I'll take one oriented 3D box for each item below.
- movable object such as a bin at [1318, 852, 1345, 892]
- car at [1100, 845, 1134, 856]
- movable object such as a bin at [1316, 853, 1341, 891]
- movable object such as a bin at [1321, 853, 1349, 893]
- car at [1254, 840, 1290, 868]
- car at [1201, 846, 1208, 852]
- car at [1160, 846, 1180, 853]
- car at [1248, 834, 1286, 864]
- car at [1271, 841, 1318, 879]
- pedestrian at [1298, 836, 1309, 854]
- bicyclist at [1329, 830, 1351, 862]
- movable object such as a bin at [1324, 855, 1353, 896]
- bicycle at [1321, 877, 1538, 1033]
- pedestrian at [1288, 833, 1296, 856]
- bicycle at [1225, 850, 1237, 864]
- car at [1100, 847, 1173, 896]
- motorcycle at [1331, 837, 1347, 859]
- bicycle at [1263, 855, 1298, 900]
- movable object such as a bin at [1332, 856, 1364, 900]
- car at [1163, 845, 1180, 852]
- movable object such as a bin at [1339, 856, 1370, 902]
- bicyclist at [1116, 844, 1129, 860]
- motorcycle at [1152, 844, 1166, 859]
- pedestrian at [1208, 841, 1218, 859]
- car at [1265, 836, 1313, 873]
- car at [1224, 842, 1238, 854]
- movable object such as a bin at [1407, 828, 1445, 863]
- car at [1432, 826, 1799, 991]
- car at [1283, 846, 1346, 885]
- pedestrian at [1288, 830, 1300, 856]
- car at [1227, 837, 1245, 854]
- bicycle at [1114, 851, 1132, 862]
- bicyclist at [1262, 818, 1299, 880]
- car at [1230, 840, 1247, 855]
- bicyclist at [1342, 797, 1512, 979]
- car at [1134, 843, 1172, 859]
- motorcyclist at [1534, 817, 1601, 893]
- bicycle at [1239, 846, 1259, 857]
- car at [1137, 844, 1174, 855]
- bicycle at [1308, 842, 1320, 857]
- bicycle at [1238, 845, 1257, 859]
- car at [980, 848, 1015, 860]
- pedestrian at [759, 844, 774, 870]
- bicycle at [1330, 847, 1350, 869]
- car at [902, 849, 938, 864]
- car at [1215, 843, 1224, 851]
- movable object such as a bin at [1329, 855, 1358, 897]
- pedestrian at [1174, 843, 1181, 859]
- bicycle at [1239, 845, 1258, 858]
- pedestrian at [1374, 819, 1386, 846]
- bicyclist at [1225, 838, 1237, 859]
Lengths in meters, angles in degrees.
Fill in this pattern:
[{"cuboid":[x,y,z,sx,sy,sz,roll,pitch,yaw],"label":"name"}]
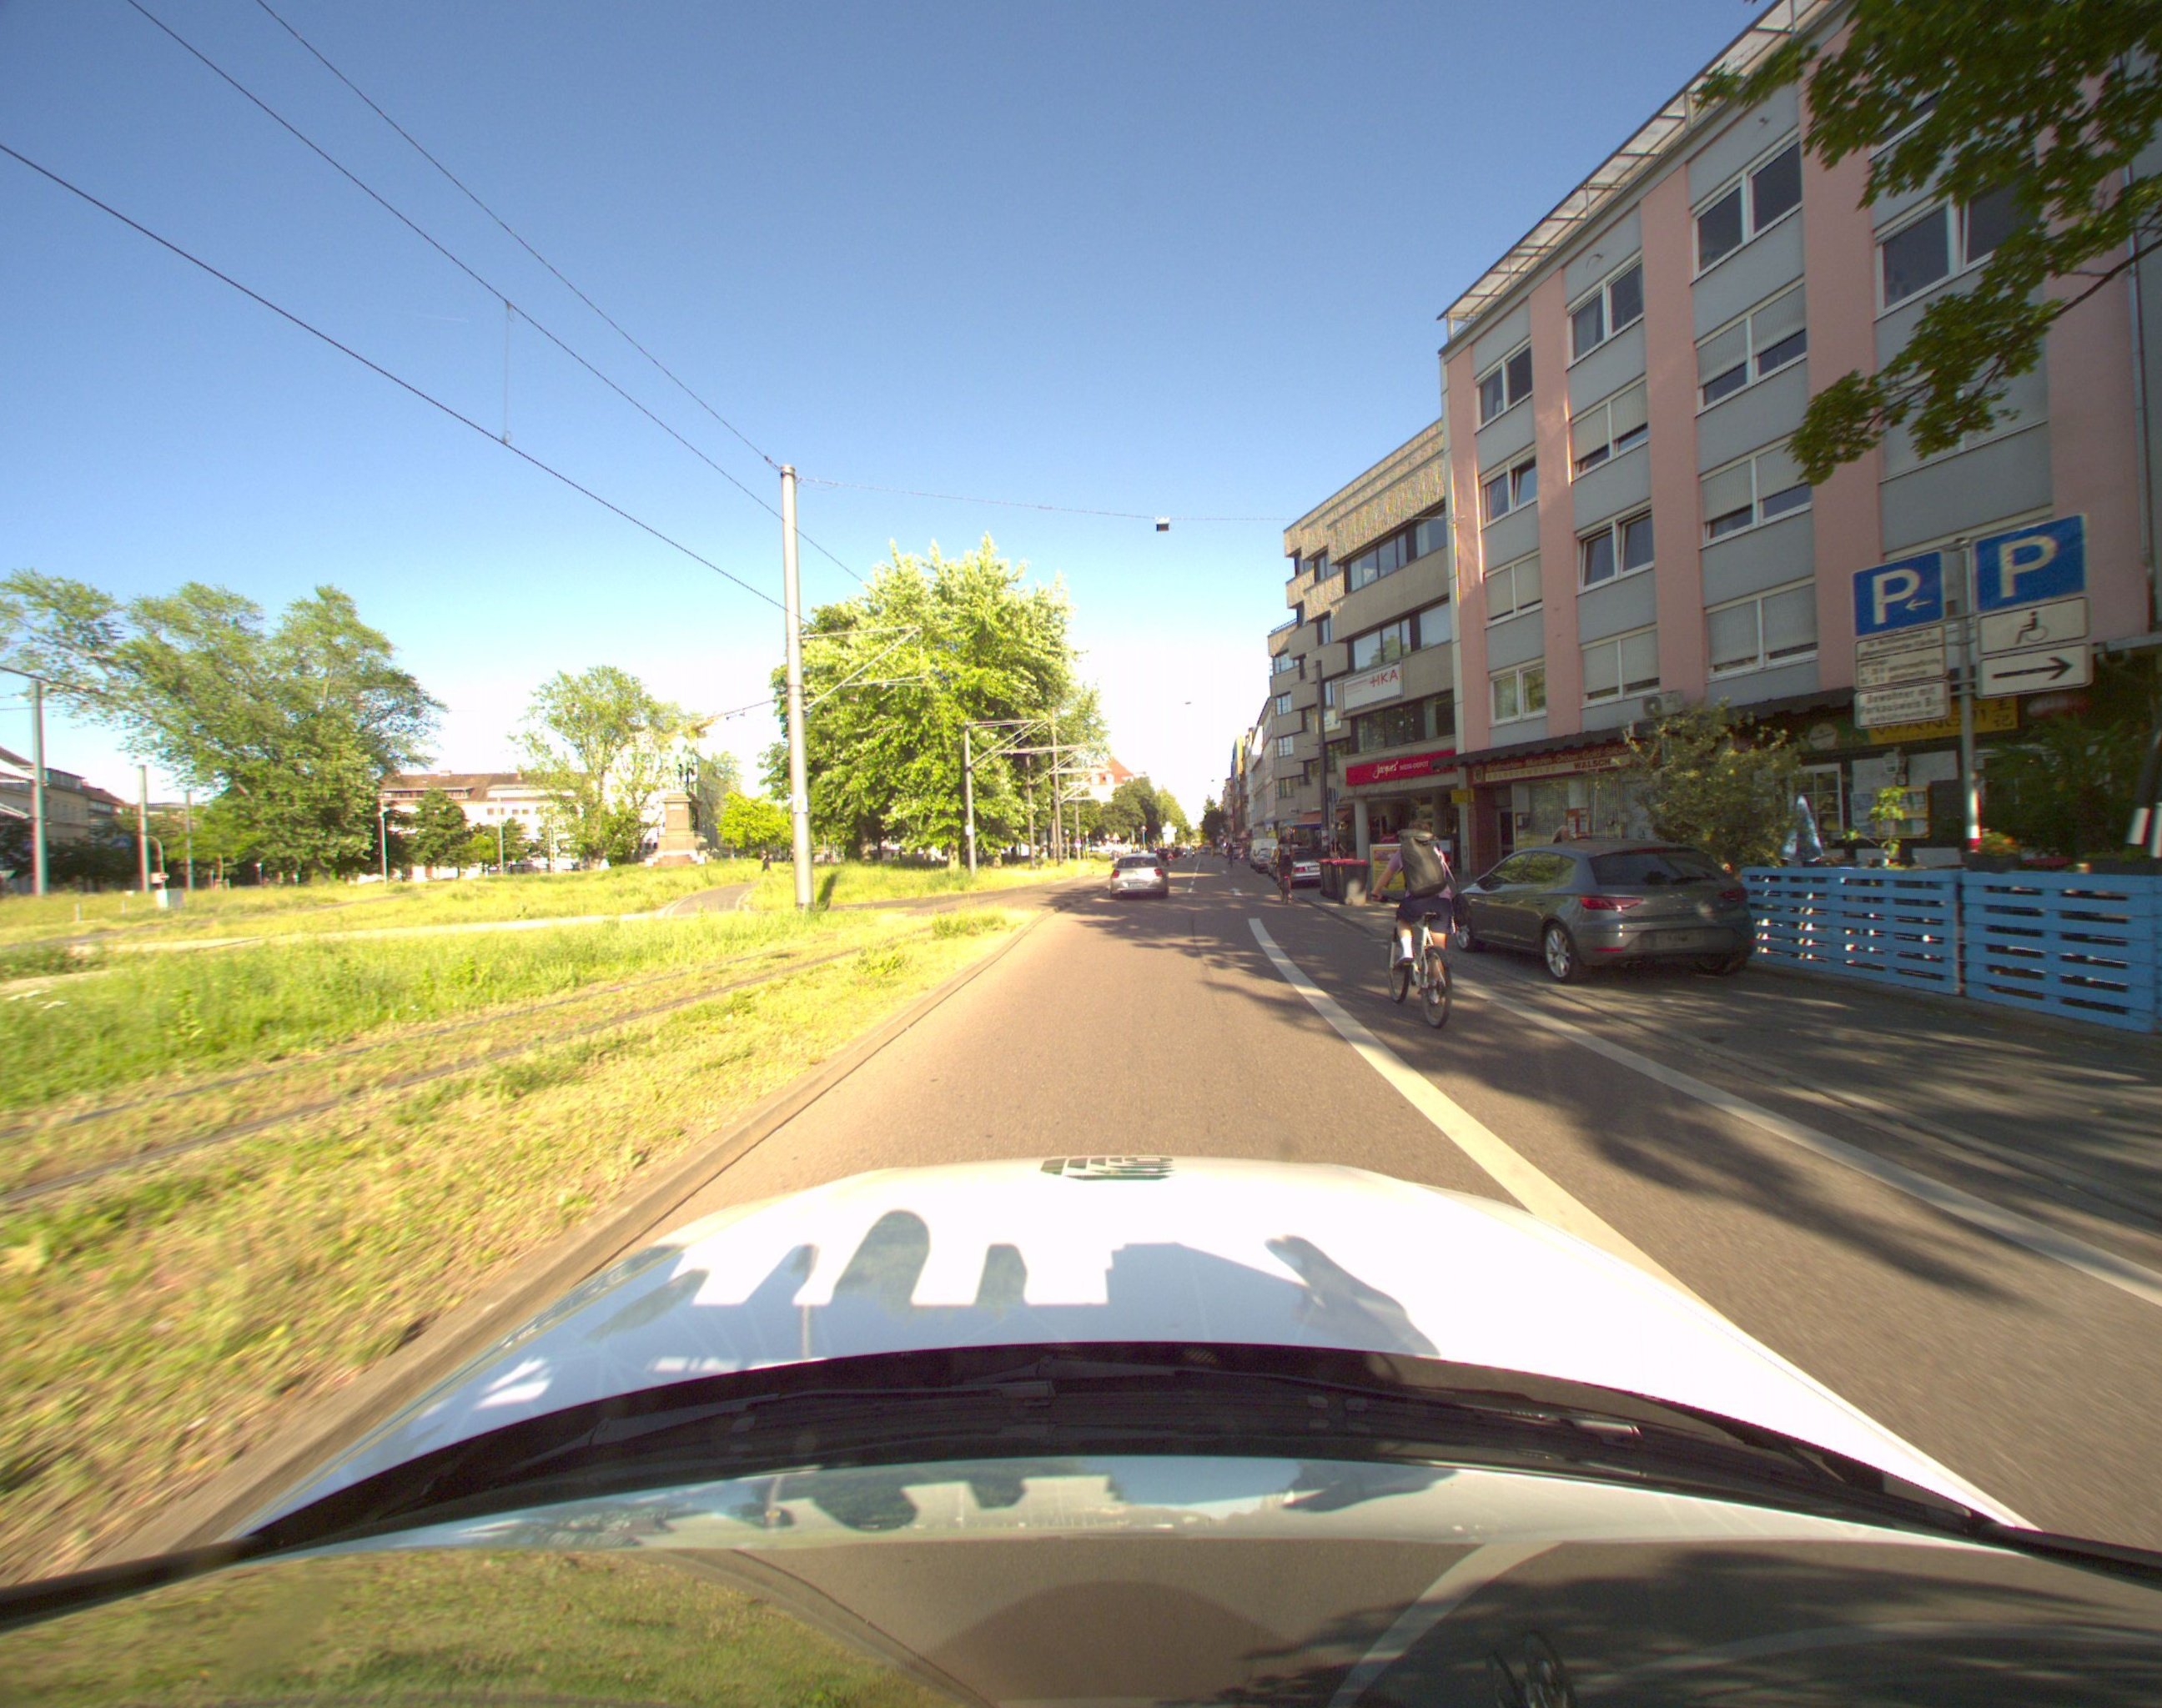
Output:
[{"cuboid":[7.031,0.507,22.853,0.607,1.105,0.526,-1,-1,5],"label":"movable object such as a bin"},{"cuboid":[6.026,-0.631,137.058,5.279,1.800,2.150,-1,-1,-19],"label":"car"},{"cuboid":[7.118,0.519,23.442,0.589,1.083,0.605,-1,-1,5],"label":"movable object such as a bin"},{"cuboid":[6.953,0.509,22.290,0.602,1.069,0.546,-1,-1,5],"label":"movable object such as a bin"},{"cuboid":[10.607,0.025,45.471,1.763,1.454,4.744,-1,-1,11],"label":"car"},{"cuboid":[31.541,-1.211,207.894,1.859,1.556,4.010,-1,-1,9],"label":"car"},{"cuboid":[18.644,-0.955,170.931,3.963,1.508,2.005,-1,0,9],"label":"car"},{"cuboid":[11.811,-0.292,51.817,1.982,1.813,4.319,-1,-1,8],"label":"car"},{"cuboid":[9.167,0.243,35.237,1.660,1.518,4.212,-1,-1,11],"label":"car"},{"cuboid":[16.361,-0.642,59.841,0.626,1.236,0.626,-4,-1,12],"label":"pedestrian"},{"cuboid":[11.045,-0.325,34.780,0.753,1.326,0.997,-1,-1,10],"label":"bicyclist"},{"cuboid":[6.827,0.575,21.617,0.603,1.069,0.614,-1,-1,4],"label":"movable object such as a bin"},{"cuboid":[3.011,0.804,7.375,0.884,1.136,2.226,-1,-1,-4],"label":"bicycle"},{"cuboid":[15.735,-0.694,60.728,0.580,1.714,0.700,-1,-1,11],"label":"pedestrian"},{"cuboid":[10.487,0.214,57.044,0.649,0.958,2.703,-1,-1,7],"label":"bicycle"},{"cuboid":[1.876,0.545,26.383,1.982,1.423,4.206,-1,-1,8],"label":"car"},{"cuboid":[14.814,-0.330,46.667,0.758,1.155,2.057,-5,-2,18],"label":"motorcycle"},{"cuboid":[5.460,0.618,22.236,0.813,1.185,1.973,-1,-1,17],"label":"bicycle"},{"cuboid":[6.699,0.593,20.464,0.616,1.069,0.611,-1,-1,5],"label":"movable object such as a bin"},{"cuboid":[20.751,-1.347,186.640,3.963,1.508,1.899,-1,0,9],"label":"car"},{"cuboid":[6.629,0.607,19.774,0.570,1.082,0.571,-1,-1,5],"label":"movable object such as a bin"},{"cuboid":[3.923,-0.161,77.430,0.931,1.507,0.820,-1,-1,-19],"label":"bicyclist"},{"cuboid":[7.321,-0.219,76.712,0.747,1.374,1.752,-1,-1,-15],"label":"motorcycle"},{"cuboid":[13.083,-0.376,80.636,0.671,1.699,0.799,-1,-1,-23],"label":"pedestrian"},{"cuboid":[9.952,0.033,39.179,1.841,1.689,3.876,-1,-1,8],"label":"car"},{"cuboid":[21.128,-0.861,114.783,1.709,1.515,3.591,-4,-1,8],"label":"car"},{"cuboid":[14.364,-0.343,33.974,1.326,1.397,1.126,-1,-1,16],"label":"movable object such as a bin"},{"cuboid":[5.902,0.473,9.797,1.756,1.438,4.592,-3,1,6],"label":"car"},{"cuboid":[8.588,0.412,30.297,1.839,1.344,4.613,-1,-1,11],"label":"car"},{"cuboid":[15.650,-0.770,59.908,0.666,1.856,0.612,-5,-2,11],"label":"pedestrian"},{"cuboid":[19.982,-1.075,105.212,1.983,2.004,5.128,-2,0,7],"label":"car"},{"cuboid":[3.986,0.238,77.240,0.812,1.069,2.567,-1,-1,-18],"label":"bicycle"},{"cuboid":[5.460,-0.126,22.254,0.932,1.633,0.939,-1,-1,16],"label":"bicyclist"},{"cuboid":[18.300,-0.722,94.895,1.735,1.739,4.972,-1,-1,8],"label":"car"},{"cuboid":[3.015,0.279,7.214,1.036,1.484,0.987,-1,-1,-4],"label":"bicyclist"},{"cuboid":[8.075,-0.349,91.185,3.888,1.682,1.792,-2,-1,-37],"label":"car"},{"cuboid":[10.316,0.027,17.295,0.895,1.551,0.806,-1,-1,-1],"label":"motorcyclist"},{"cuboid":[15.358,-0.229,74.297,1.688,1.004,0.430,-1,-1,24],"label":"bicycle"},{"cuboid":[10.474,-0.579,114.210,4.844,1.488,1.755,-1,-1,-16],"label":"car"},{"cuboid":[16.529,-0.322,57.803,0.559,1.034,1.648,-1,-1,9],"label":"bicycle"},{"cuboid":[15.497,-0.188,75.761,1.606,1.243,0.663,-1,-1,28],"label":"bicycle"},{"cuboid":[-13.916,0.023,136.085,5.591,2.014,1.806,-1,-1,-18],"label":"car"},{"cuboid":[-19.462,0.171,50.407,0.679,1.616,0.548,0,-1,-44],"label":"pedestrian"},{"cuboid":[11.037,0.184,34.758,0.531,0.891,2.076,-1,-1,10],"label":"bicycle"},{"cuboid":[-25.205,0.376,127.465,5.345,2.314,1.990,-1,-1,-15],"label":"car"},{"cuboid":[30.063,-1.481,176.740,1.981,1.618,4.022,-1,0,11],"label":"car"},{"cuboid":[6.779,0.556,21.029,0.588,1.069,0.496,-1,-1,5],"label":"movable object such as a bin"},{"cuboid":[9.903,-0.294,83.699,0.632,1.672,0.694,-1,-1,9],"label":"pedestrian"},{"cuboid":[15.189,-0.223,73.950,1.664,1.062,0.345,-1,-1,24],"label":"bicycle"},{"cuboid":[20.571,-1.443,56.090,0.697,1.816,0.721,-1,-1,24],"label":"pedestrian"},{"cuboid":[10.497,-0.369,57.079,0.782,1.453,1.098,-1,-1,7],"label":"bicyclist"}]
